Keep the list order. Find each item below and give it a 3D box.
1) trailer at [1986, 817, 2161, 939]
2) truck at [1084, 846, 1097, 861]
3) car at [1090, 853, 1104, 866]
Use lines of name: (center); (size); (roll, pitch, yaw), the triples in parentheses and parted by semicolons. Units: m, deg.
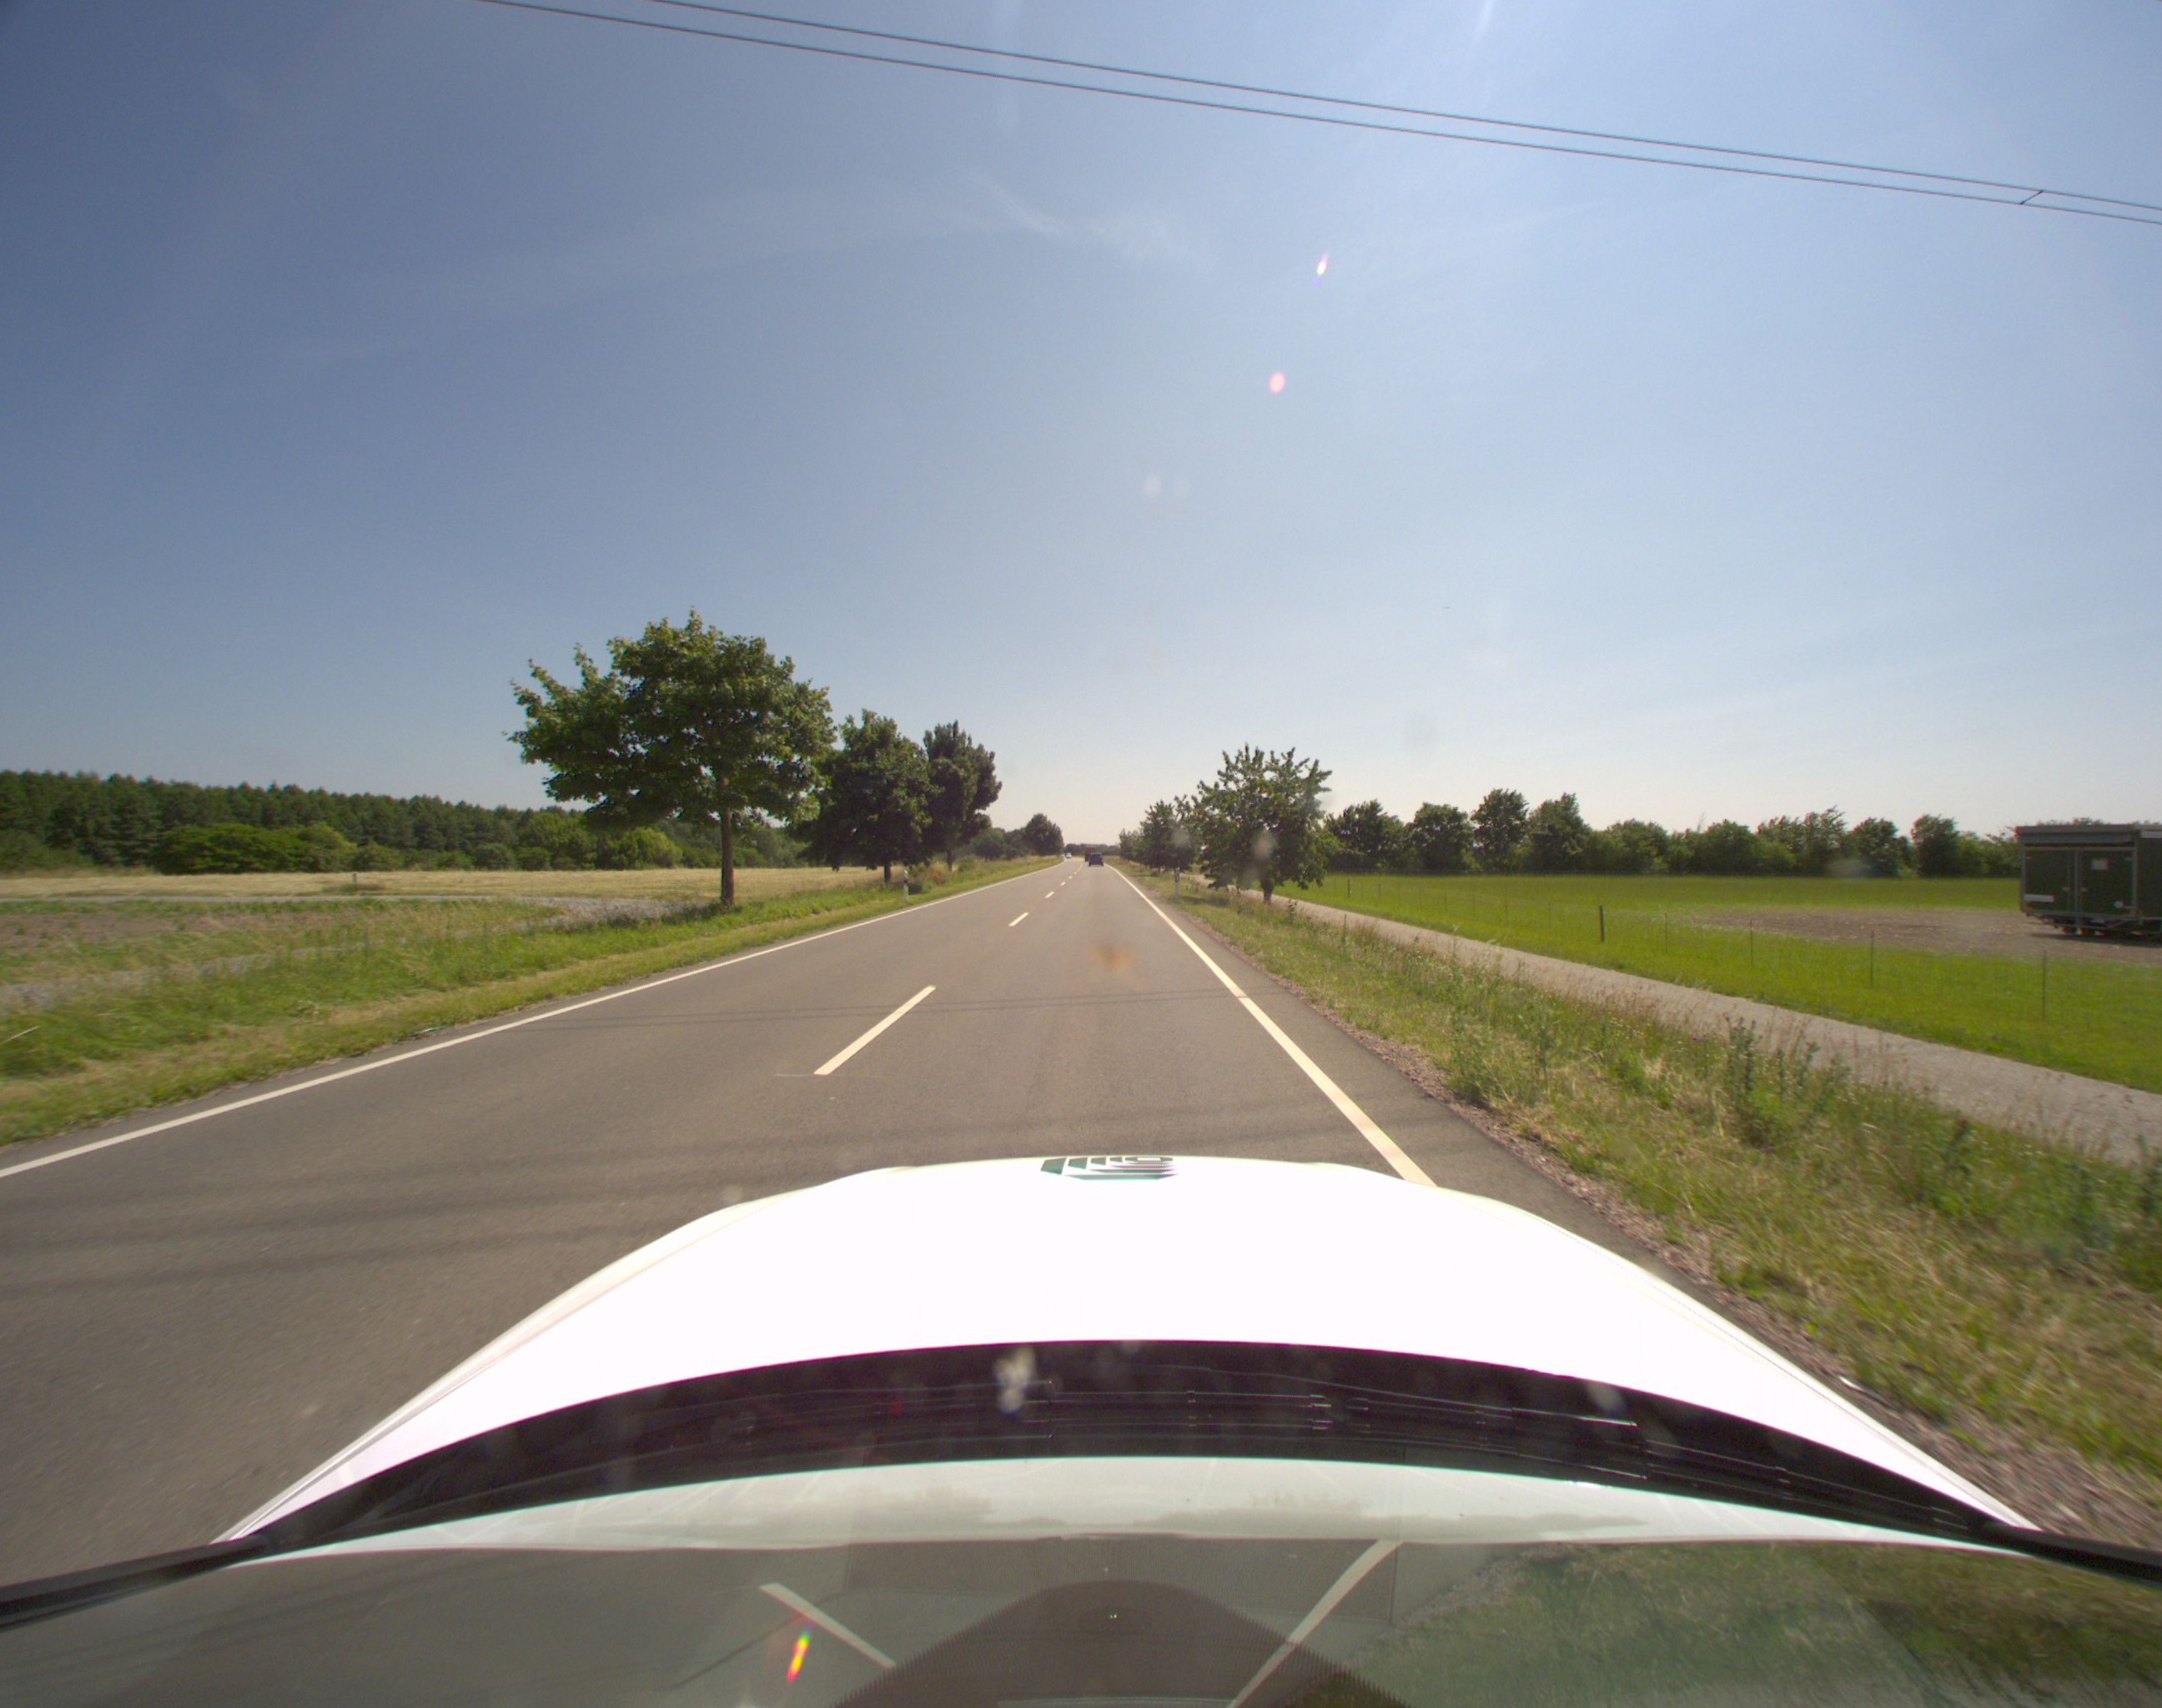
trailer: (36.331, 0.726, 25.265); (12.369, 3.473, 3.805); (0, 0, 0)
truck: (1.926, -0.056, 170.463); (2.365, 3.140, 8.738); (-1, 0, -2)
car: (2.029, 0.721, 104.427); (1.708, 1.694, 3.990); (-1, 0, 1)
